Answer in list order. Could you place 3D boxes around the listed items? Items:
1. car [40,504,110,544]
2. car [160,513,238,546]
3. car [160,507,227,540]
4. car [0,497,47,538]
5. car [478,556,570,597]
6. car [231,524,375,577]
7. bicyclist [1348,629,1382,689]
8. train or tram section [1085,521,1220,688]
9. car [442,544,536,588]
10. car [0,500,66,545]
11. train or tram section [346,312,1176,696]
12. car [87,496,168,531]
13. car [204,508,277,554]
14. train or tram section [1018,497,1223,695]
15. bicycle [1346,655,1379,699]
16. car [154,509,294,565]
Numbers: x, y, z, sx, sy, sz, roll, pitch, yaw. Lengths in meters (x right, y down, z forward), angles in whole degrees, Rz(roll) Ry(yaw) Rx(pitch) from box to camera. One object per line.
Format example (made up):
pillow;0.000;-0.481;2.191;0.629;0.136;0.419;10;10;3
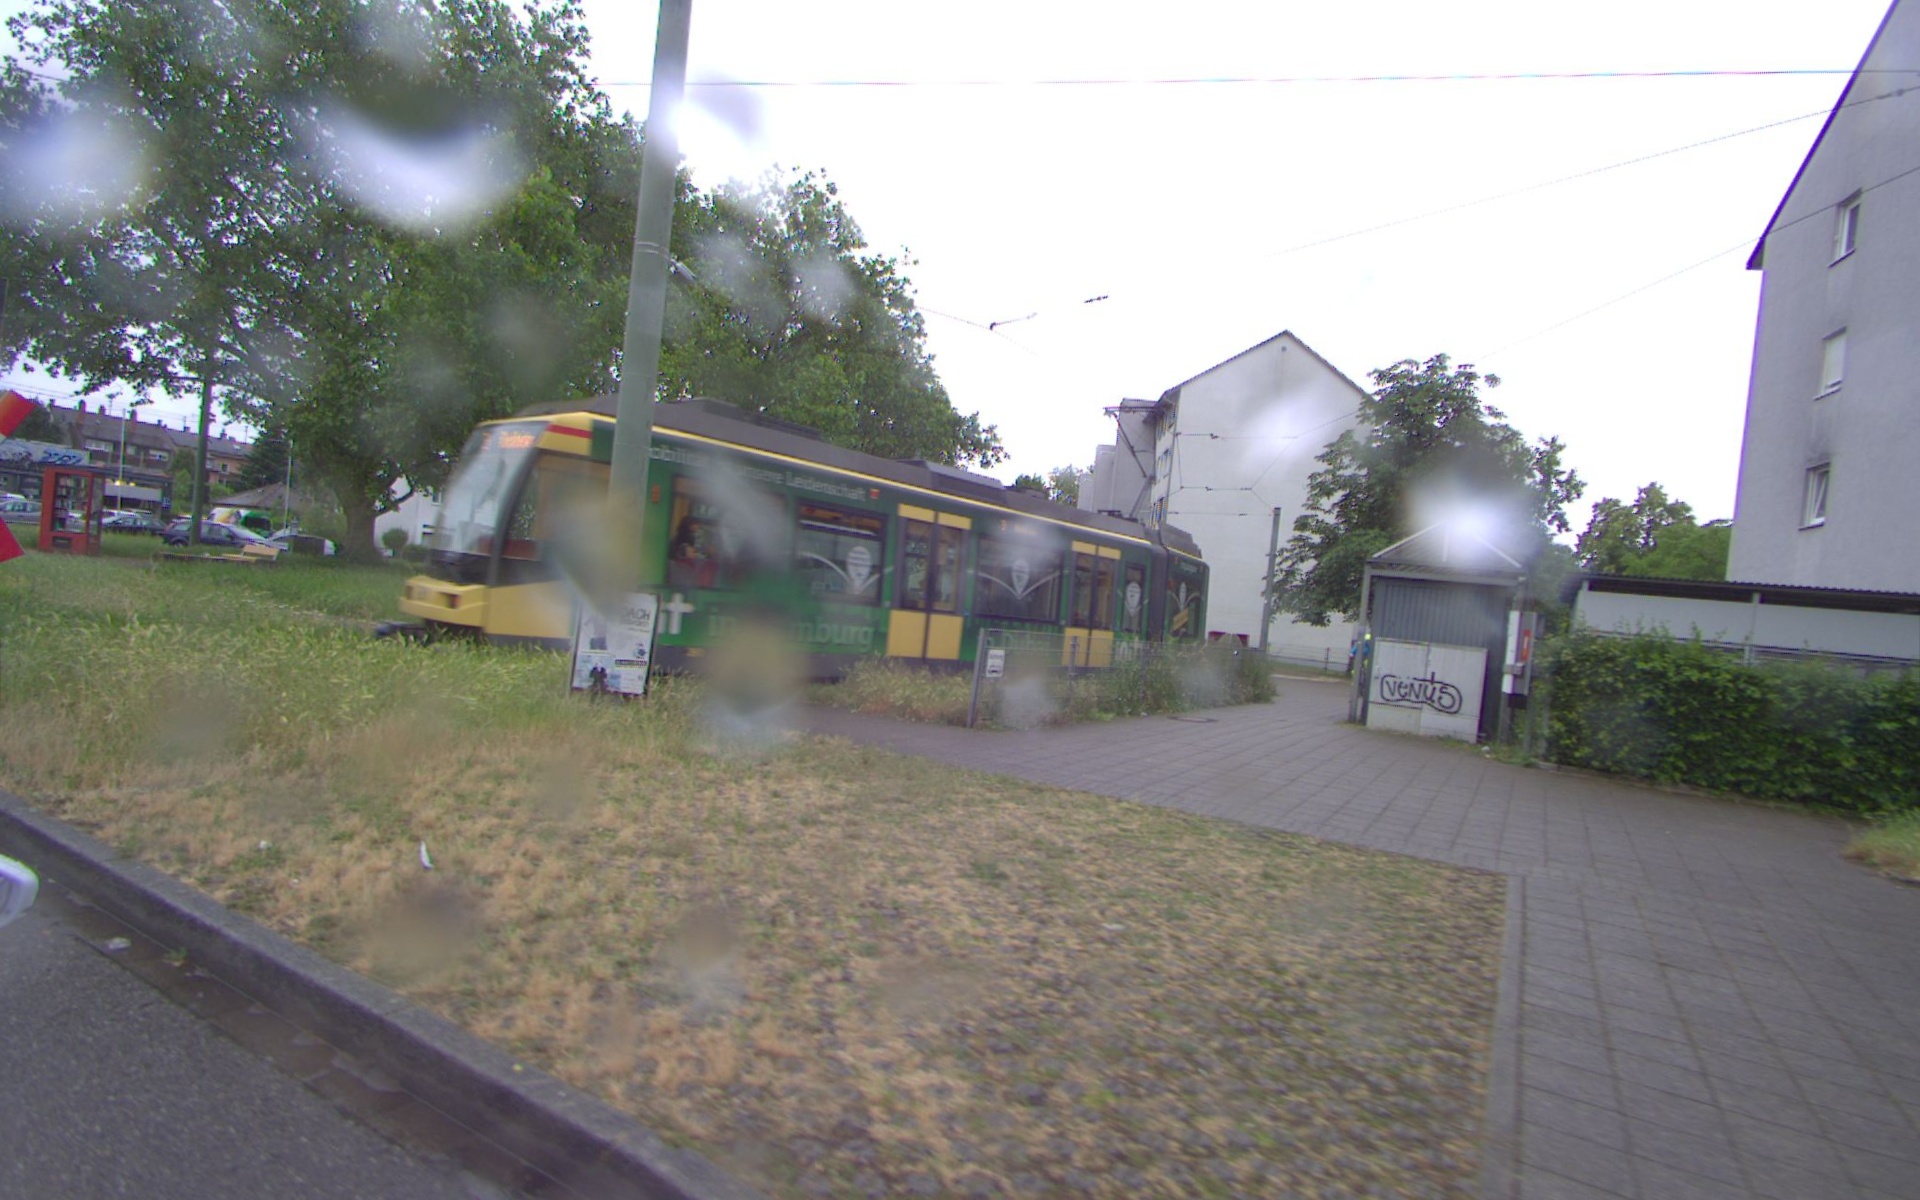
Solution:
car;-49.156;-4.223;55.850;3.939;1.811;1.995;5;-2;36
car;-54.476;-5.019;72.076;1.816;1.658;3.994;6;-3;32
car;-61.023;-6.094;80.118;3.924;2.037;2.003;6;-2;14
car;-53.746;-4.772;55.821;1.966;1.973;3.997;6;-2;30
car;-21.824;-1.159;50.484;3.855;1.512;1.806;8;-2;-15
car;-24.179;-1.794;37.136;1.819;1.300;3.987;5;-3;39
bicyclist;10.732;1.566;26.621;0.626;1.491;1.108;6;-2;26
train or tram section;5.593;0.269;29.321;2.716;3.597;12.209;6;0;11
car;-22.427;-1.593;47.986;3.868;1.512;1.800;8;-2;-26
car;-45.605;-3.830;48.183;1.859;1.720;3.691;6;-3;32
train or tram section;-1.437;-0.543;15.274;2.732;3.597;13.060;6;0;42
car;-60.062;-6.229;72.645;1.969;1.811;3.992;6;-3;35
car;-45.677;-4.384;63.870;4.281;2.471;1.998;6;-2;31
train or tram section;3.611;0.001;21.657;2.720;3.597;4.983;6;0;26
bicycle;10.686;2.035;26.679;0.589;1.080;2.030;6;-1;26
car;-28.534;-2.410;39.121;3.855;1.512;1.806;8;-2;-15
